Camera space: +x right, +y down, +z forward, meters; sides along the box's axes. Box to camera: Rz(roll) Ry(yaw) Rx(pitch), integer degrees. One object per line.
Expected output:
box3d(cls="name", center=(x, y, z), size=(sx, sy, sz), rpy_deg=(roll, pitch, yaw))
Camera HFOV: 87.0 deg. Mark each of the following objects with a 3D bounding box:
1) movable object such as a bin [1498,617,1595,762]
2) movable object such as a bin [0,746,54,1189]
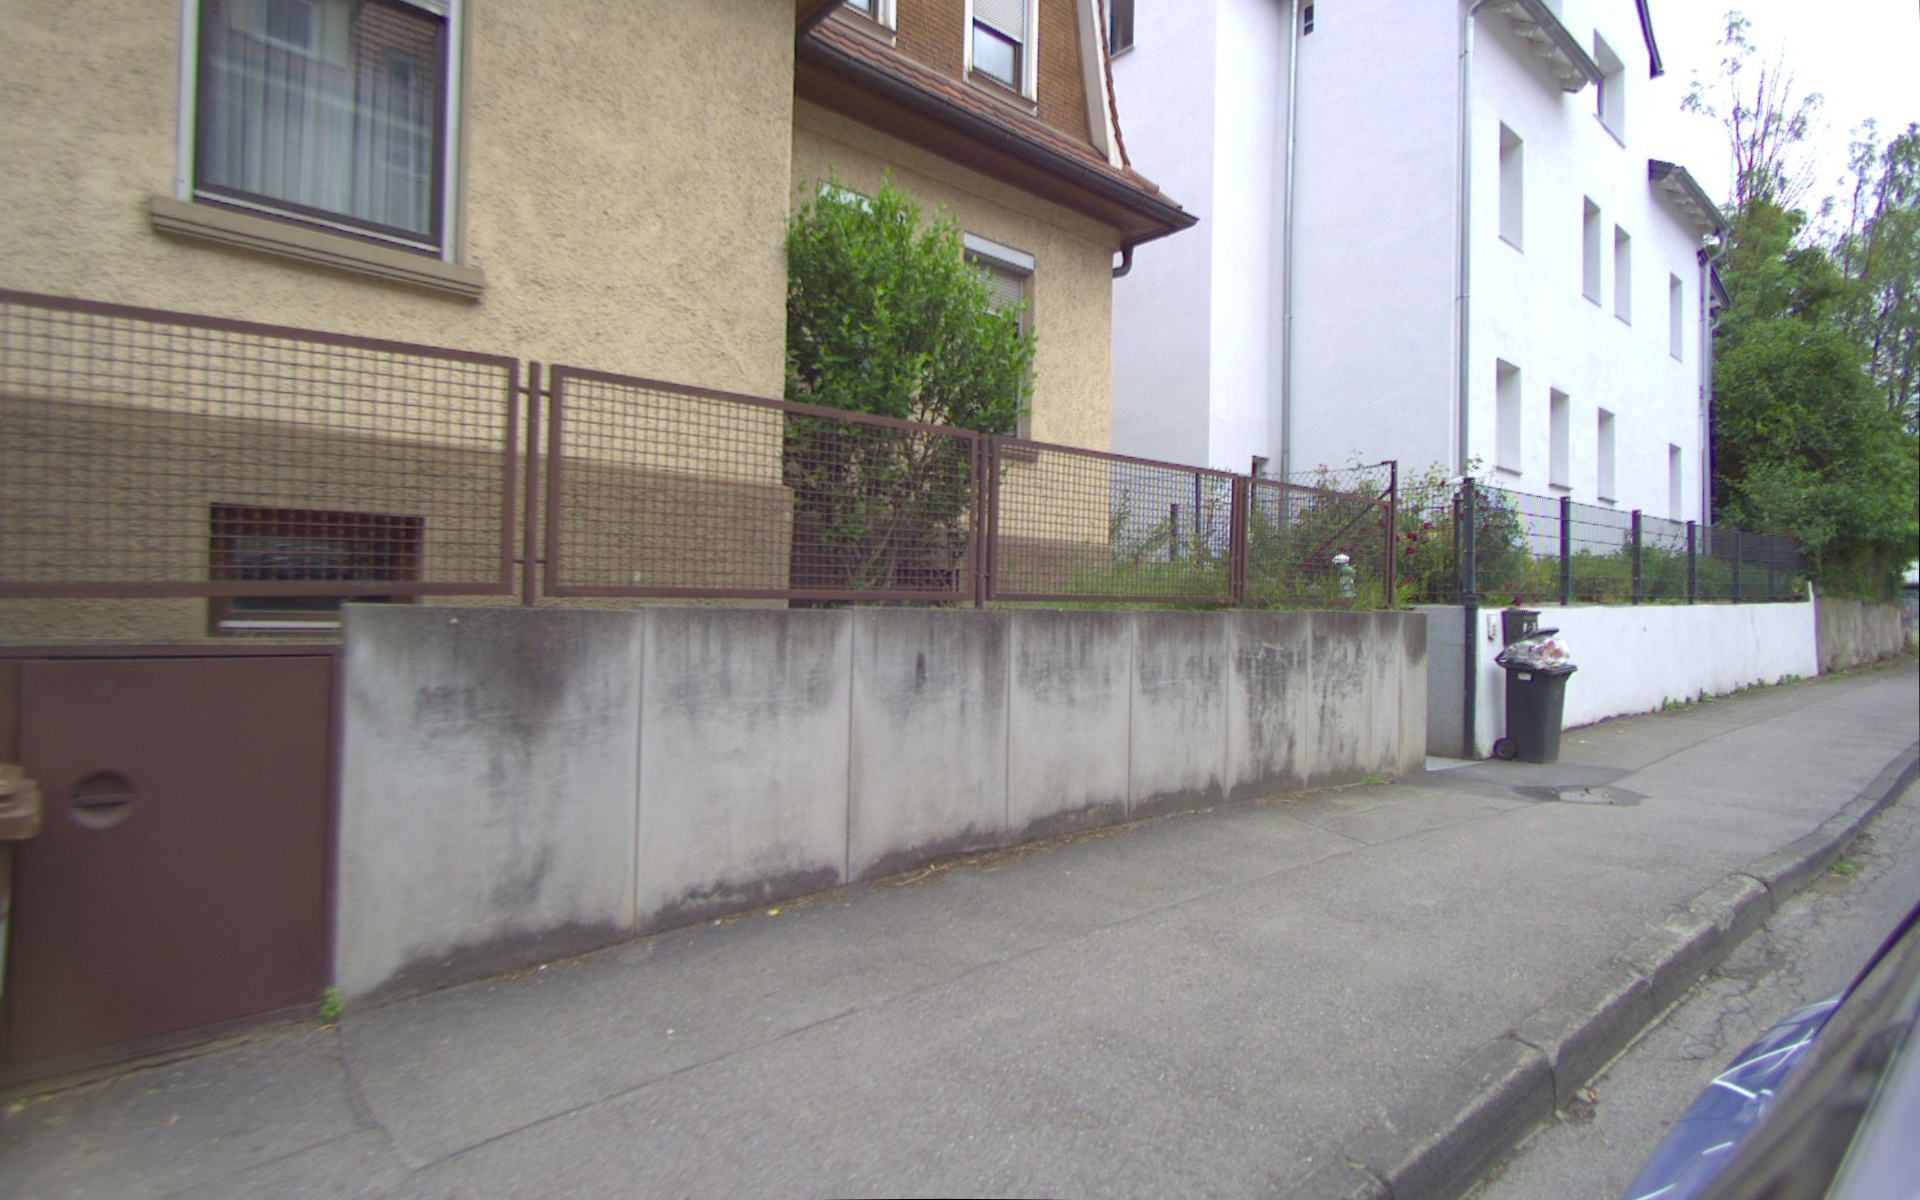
box3d(cls="movable object such as a bin", center=(5.212, 0.766, 8.994), size=(0.623, 1.192, 0.529), rpy_deg=(1, 3, -42))
box3d(cls="movable object such as a bin", center=(-2.481, 0.870, 2.346), size=(0.556, 0.935, 0.462), rpy_deg=(0, 3, -42))
